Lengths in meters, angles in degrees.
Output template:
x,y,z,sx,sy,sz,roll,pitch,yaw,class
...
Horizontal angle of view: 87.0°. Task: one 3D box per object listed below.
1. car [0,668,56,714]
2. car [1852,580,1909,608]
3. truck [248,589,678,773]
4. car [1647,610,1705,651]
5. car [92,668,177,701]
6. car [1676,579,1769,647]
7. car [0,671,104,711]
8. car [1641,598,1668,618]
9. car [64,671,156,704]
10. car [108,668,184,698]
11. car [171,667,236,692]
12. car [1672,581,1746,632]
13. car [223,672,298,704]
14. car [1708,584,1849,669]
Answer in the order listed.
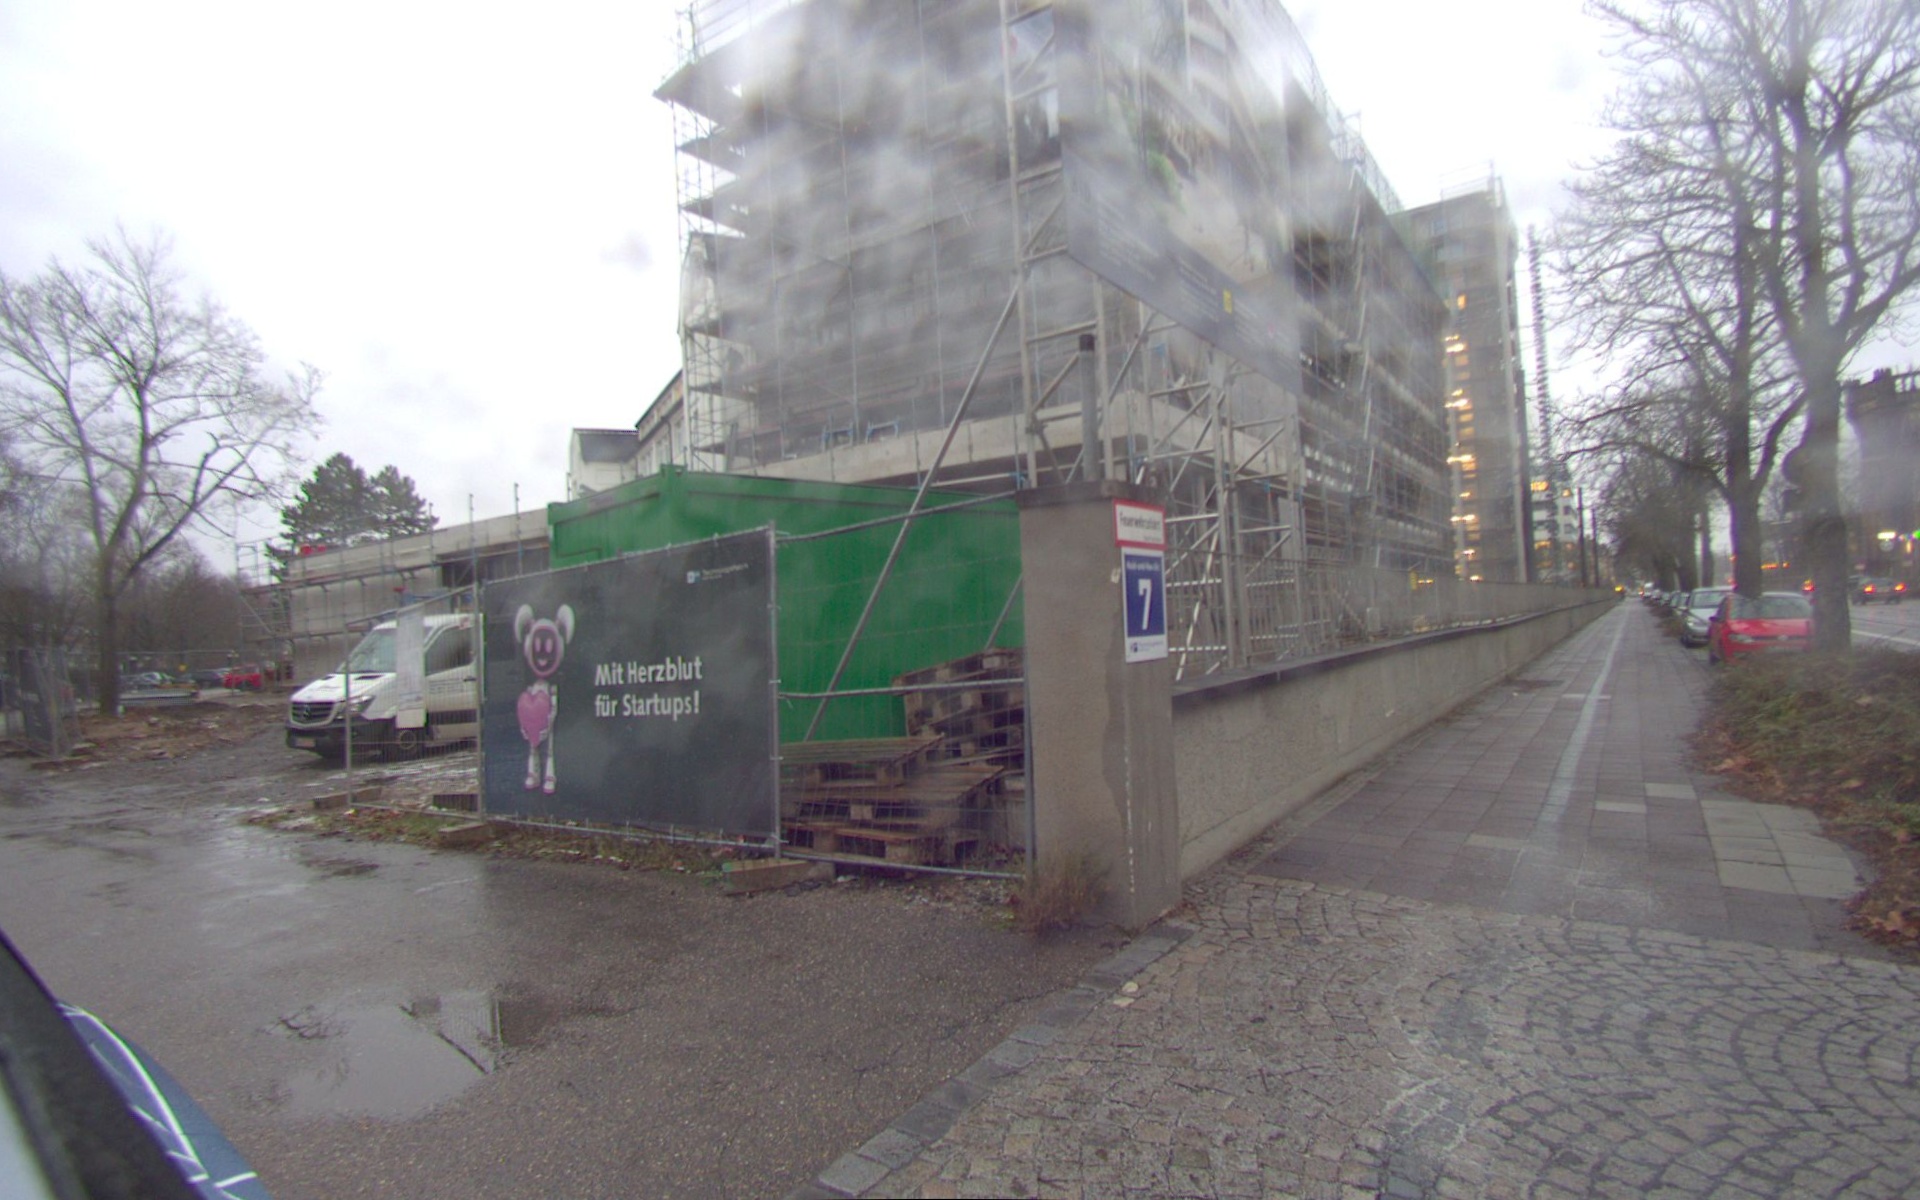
x,y,z,sx,sy,sz,roll,pitch,yaw,class
-44.834,4.272,46.905,3.931,2.007,2.006,-2,-2,-25,car
51.614,-0.305,56.807,1.762,1.422,3.953,-4,-2,34,car
-8.369,1.190,18.177,2.121,2.607,7.017,-4,-1,27,truck
30.586,1.269,43.237,1.864,1.606,3.951,-4,-2,36,car
-53.556,5.470,65.733,3.931,1.810,1.808,-2,-2,-25,car
19.905,0.337,26.533,1.751,1.596,3.691,-4,-2,36,car
-47.928,4.796,53.376,3.931,1.810,1.808,-2,-2,-25,car
59.655,0.649,86.956,1.751,1.596,3.691,-4,-2,36,car
-51.703,5.313,61.647,3.931,1.674,2.006,-2,-2,-25,car
-57.973,5.886,72.140,3.931,1.810,1.808,-2,-2,-25,car
-61.857,6.487,82.811,3.931,1.810,1.808,-2,-2,-25,car
25.943,0.243,35.121,1.864,1.606,3.951,-4,-2,36,car
-38.548,4.832,55.848,3.253,1.535,1.709,-1,-2,-30,car
15.221,0.483,18.987,1.751,1.398,3.691,-4,-2,36,car
